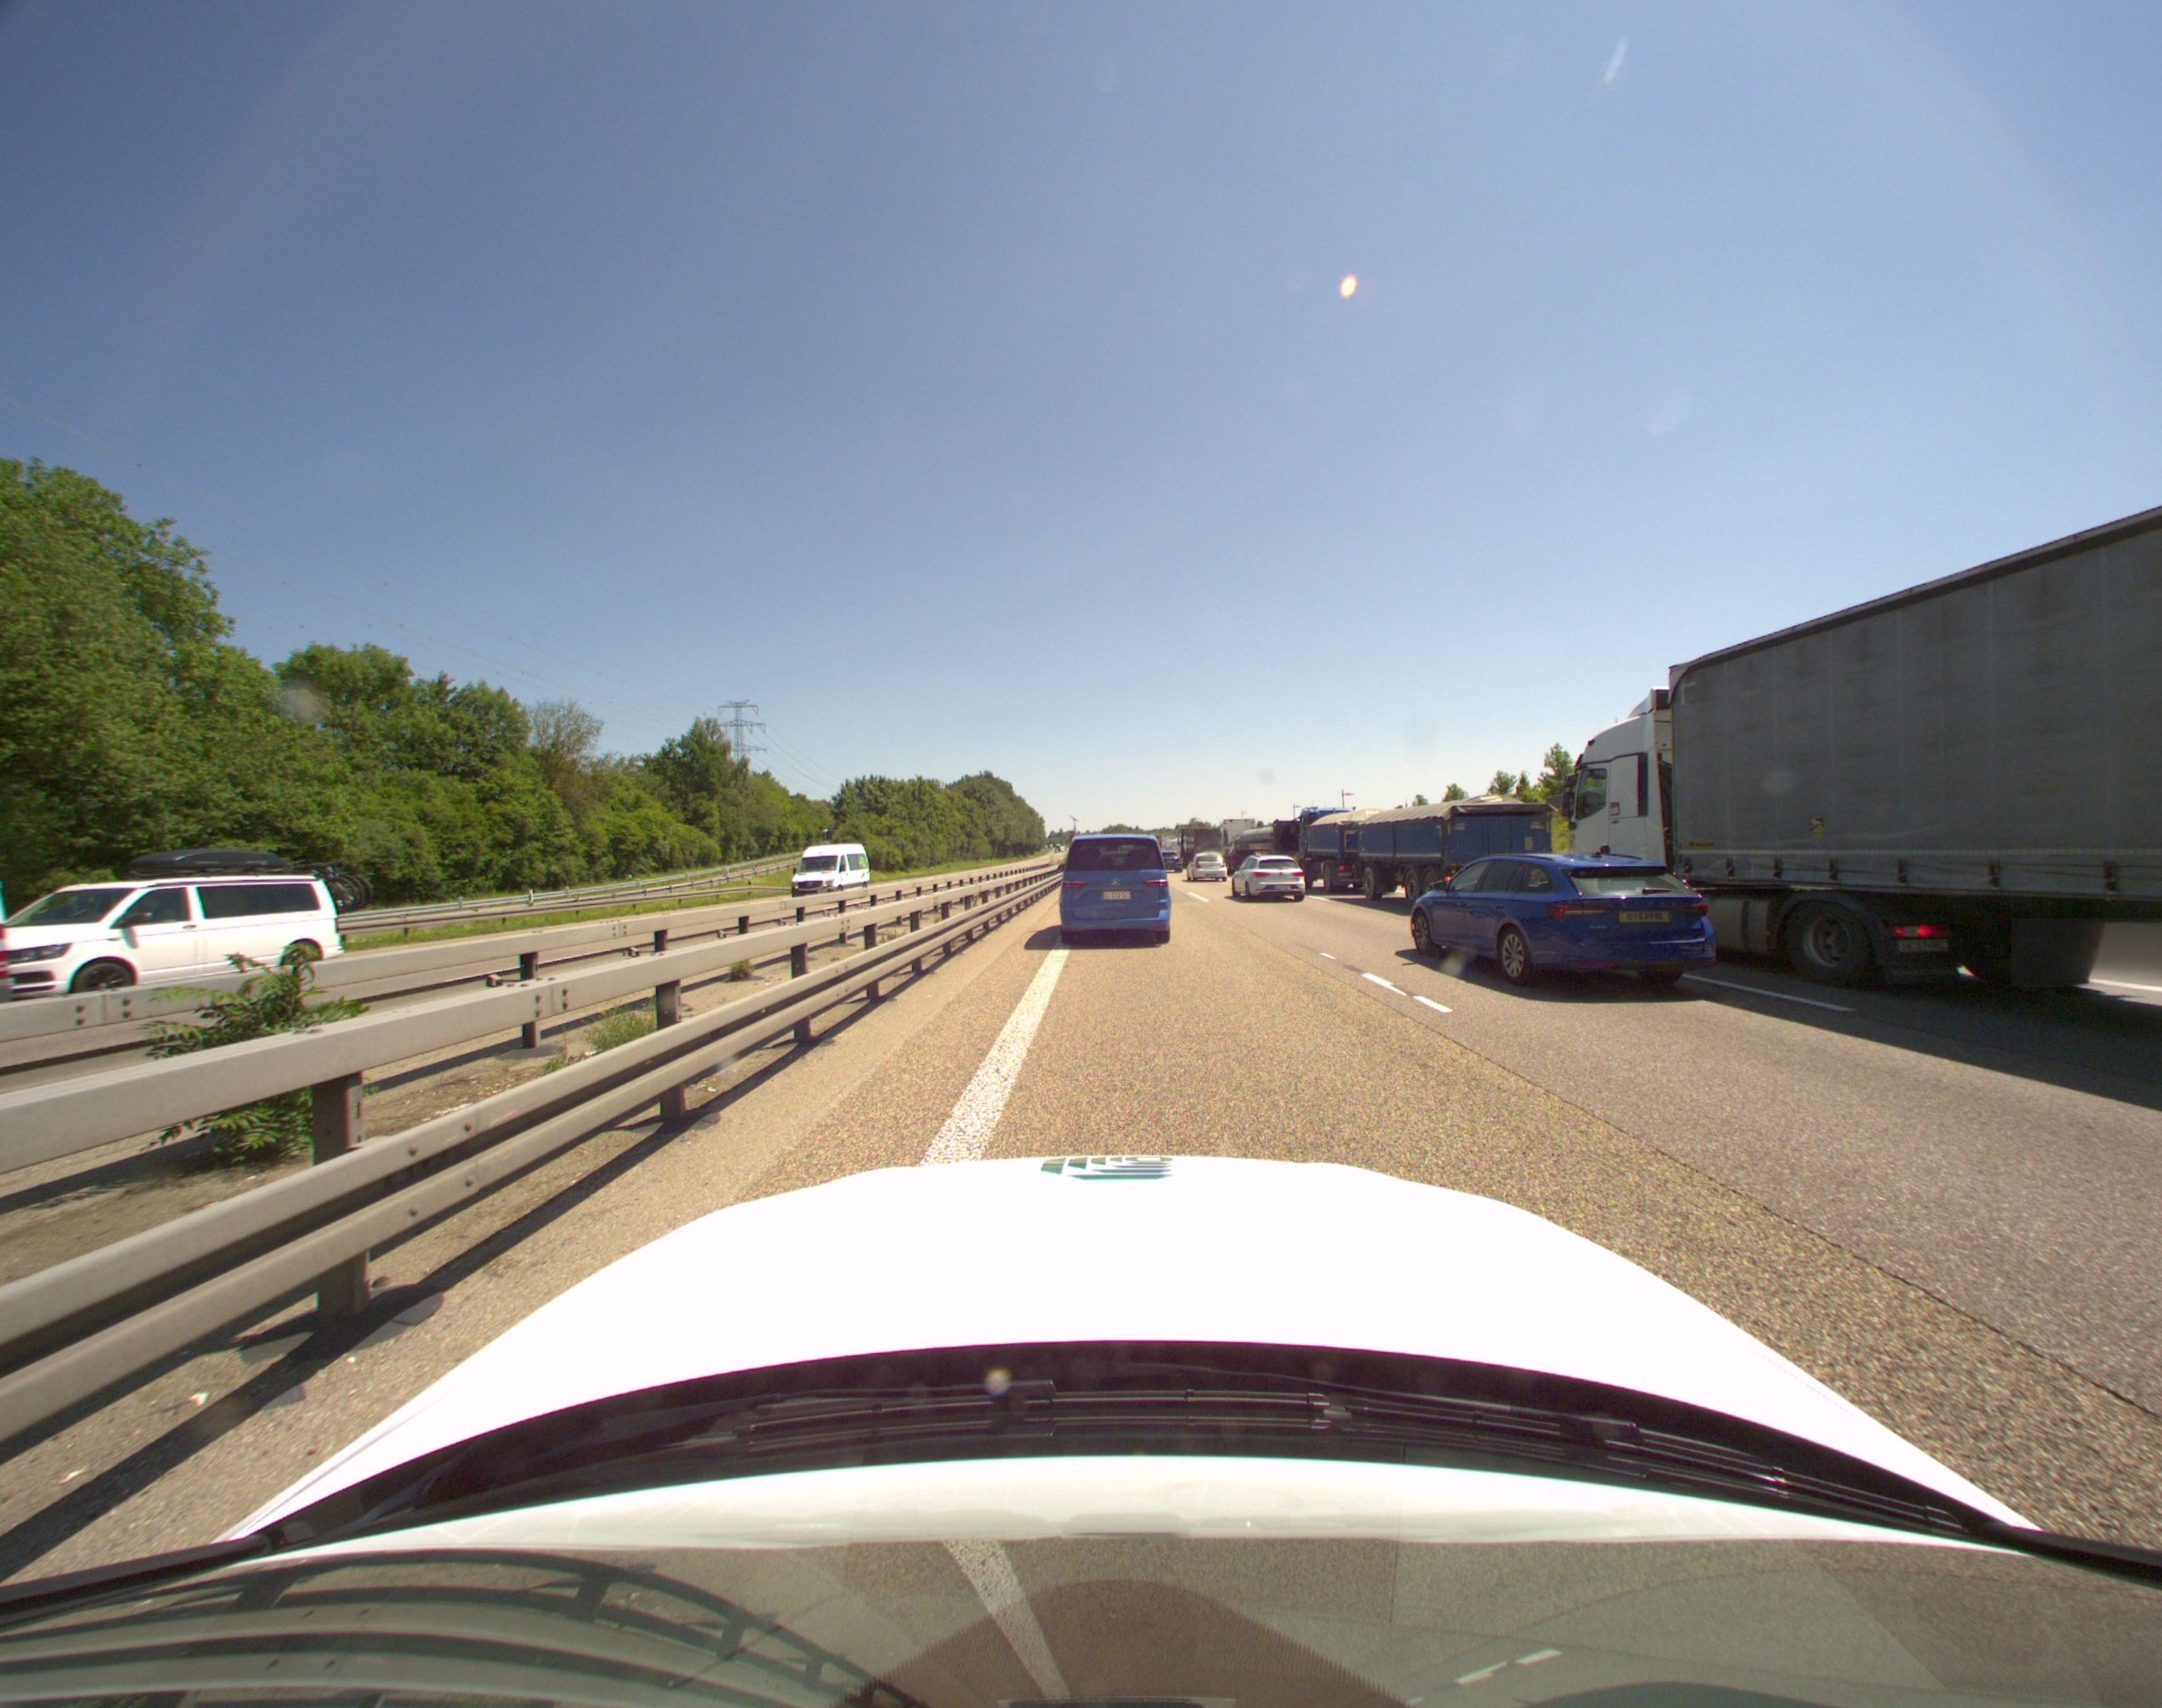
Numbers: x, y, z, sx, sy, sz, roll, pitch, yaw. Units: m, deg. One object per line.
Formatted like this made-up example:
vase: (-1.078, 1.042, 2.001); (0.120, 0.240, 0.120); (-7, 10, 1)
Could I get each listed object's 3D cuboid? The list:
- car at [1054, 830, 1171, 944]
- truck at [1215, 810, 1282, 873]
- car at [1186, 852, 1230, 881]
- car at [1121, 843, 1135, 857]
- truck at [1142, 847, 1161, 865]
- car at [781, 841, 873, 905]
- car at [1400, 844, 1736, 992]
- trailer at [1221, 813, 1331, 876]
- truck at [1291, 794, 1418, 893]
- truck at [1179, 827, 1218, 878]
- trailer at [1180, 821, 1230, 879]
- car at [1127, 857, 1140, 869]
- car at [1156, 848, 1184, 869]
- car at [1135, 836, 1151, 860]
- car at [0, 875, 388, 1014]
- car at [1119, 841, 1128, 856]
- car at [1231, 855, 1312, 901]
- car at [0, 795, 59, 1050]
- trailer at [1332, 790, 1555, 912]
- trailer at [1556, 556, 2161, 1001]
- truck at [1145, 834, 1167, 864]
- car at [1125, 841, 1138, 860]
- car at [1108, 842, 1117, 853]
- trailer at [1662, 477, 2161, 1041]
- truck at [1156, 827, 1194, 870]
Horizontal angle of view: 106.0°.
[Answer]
car: (0.625, 0.560, 15.225); (1.893, 1.838, 4.003); (0, -1, 3)
truck: (11.578, -0.754, 57.056); (3.610, 4.095, 7.531); (0, -1, 4)
car: (6.699, 0.661, 43.263); (1.833, 1.454, 4.002); (0, -1, 2)
car: (9.324, -0.781, 160.812); (2.541, 2.717, 5.623); (0, -1, 2)
truck: (7.163, 0.216, 83.071); (1.719, 1.857, 4.001); (0, -1, 2)
car: (-11.428, 0.851, 37.151); (2.148, 2.594, 5.892); (-2, -1, 1)
car: (5.626, 0.656, 10.185); (1.699, 1.441, 4.430); (0, -1, 2)
trailer: (10.945, -0.355, 47.962); (3.630, 3.079, 15.786); (0, -1, 4)
truck: (10.175, -0.398, 31.147); (2.733, 3.311, 7.137); (0, 1, 2)
truck: (12.342, -0.116, 86.268); (3.643, 5.180, 5.714); (0, -1, 4)
trailer: (11.966, -0.276, 79.803); (3.631, 5.136, 13.085); (0, -1, 3)
car: (8.681, 1.481, 133.950); (1.986, 2.014, 4.001); (0, -1, 2)
car: (6.756, 0.386, 62.091); (1.774, 1.524, 4.001); (0, -1, 2)
car: (13.714, -1.290, 180.528); (3.206, 5.257, 8.148); (0, -1, 2)
car: (-15.753, 1.412, 14.578); (1.858, 1.904, 5.492); (-3, -1, 0)
car: (13.779, -1.762, 263.155); (2.706, 4.713, 11.564); (0, -1, 2)
car: (6.006, 0.707, 26.125); (1.860, 1.361, 4.003); (0, 0, 3)
car: (-12.320, 0.763, 5.970); (2.045, 2.651, 5.840); (-5, -1, 1)
trailer: (9.857, -0.117, 23.556); (2.733, 2.836, 9.121); (0, 1, 2)
trailer: (9.417, -0.696, 10.611); (2.913, 4.044, 6.414); (0, 0, 2)
truck: (12.996, -0.825, 141.385); (3.057, 4.920, 10.693); (0, -1, 2)
car: (14.358, -1.045, 232.670); (3.209, 5.257, 8.138); (0, -1, -1)
car: (9.650, -1.920, 252.104); (2.478, 3.204, 7.368); (0, -1, -1)
trailer: (9.172, -0.684, 4.241); (2.951, 4.049, 13.759); (0, 0, 2)
truck: (12.057, -0.558, 106.178); (3.608, 5.213, 15.692); (0, -1, 1)
